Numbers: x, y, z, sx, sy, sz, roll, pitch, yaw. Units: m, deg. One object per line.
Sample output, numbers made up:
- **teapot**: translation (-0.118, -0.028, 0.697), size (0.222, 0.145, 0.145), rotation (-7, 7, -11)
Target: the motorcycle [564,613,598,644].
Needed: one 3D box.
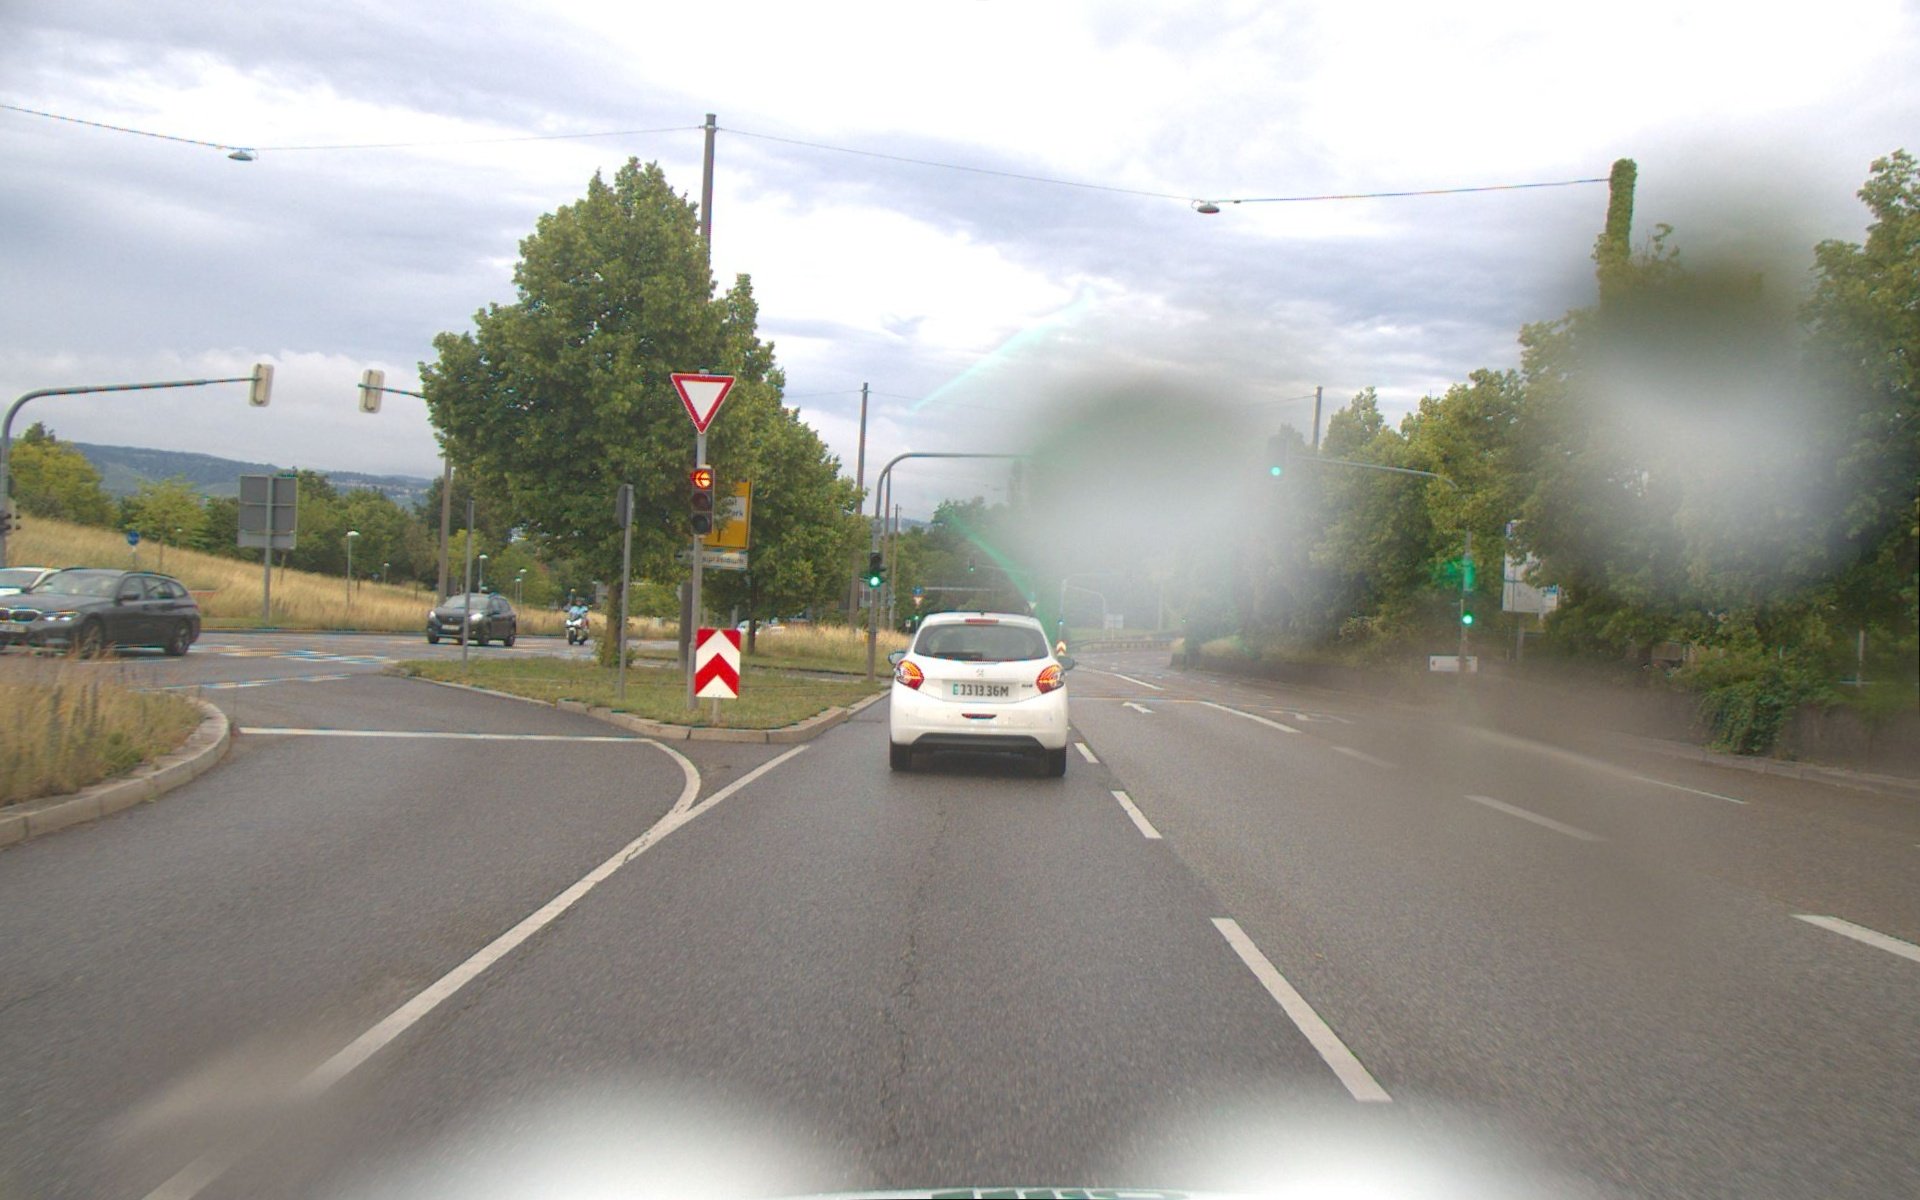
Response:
- **motorcycle**: translation (-13.943, 1.025, 60.850), size (0.604, 1.068, 2.502), rotation (3, 0, 0)

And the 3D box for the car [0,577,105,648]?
- **car**: translation (-20.874, 0.288, 36.771), size (1.617, 1.488, 3.774), rotation (3, -2, 1)

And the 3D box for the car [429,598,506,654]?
- **car**: translation (-14.486, 0.779, 48.787), size (1.509, 1.530, 3.656), rotation (3, -2, -7)

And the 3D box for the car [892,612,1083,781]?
- **car**: translation (0.271, 0.875, 16.503), size (1.673, 1.465, 3.690), rotation (1, -1, 1)

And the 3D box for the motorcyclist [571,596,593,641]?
- **motorcyclist**: translation (-13.938, 0.681, 60.989), size (0.599, 1.609, 0.582), rotation (3, 0, 0)

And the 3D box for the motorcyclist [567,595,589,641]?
- **motorcyclist**: translation (-13.933, 0.660, 60.334), size (0.570, 1.624, 0.643), rotation (3, 0, 0)

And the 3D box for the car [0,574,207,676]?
- **car**: translation (-14.667, 0.411, 27.908), size (1.715, 1.530, 4.464), rotation (3, -1, 1)
